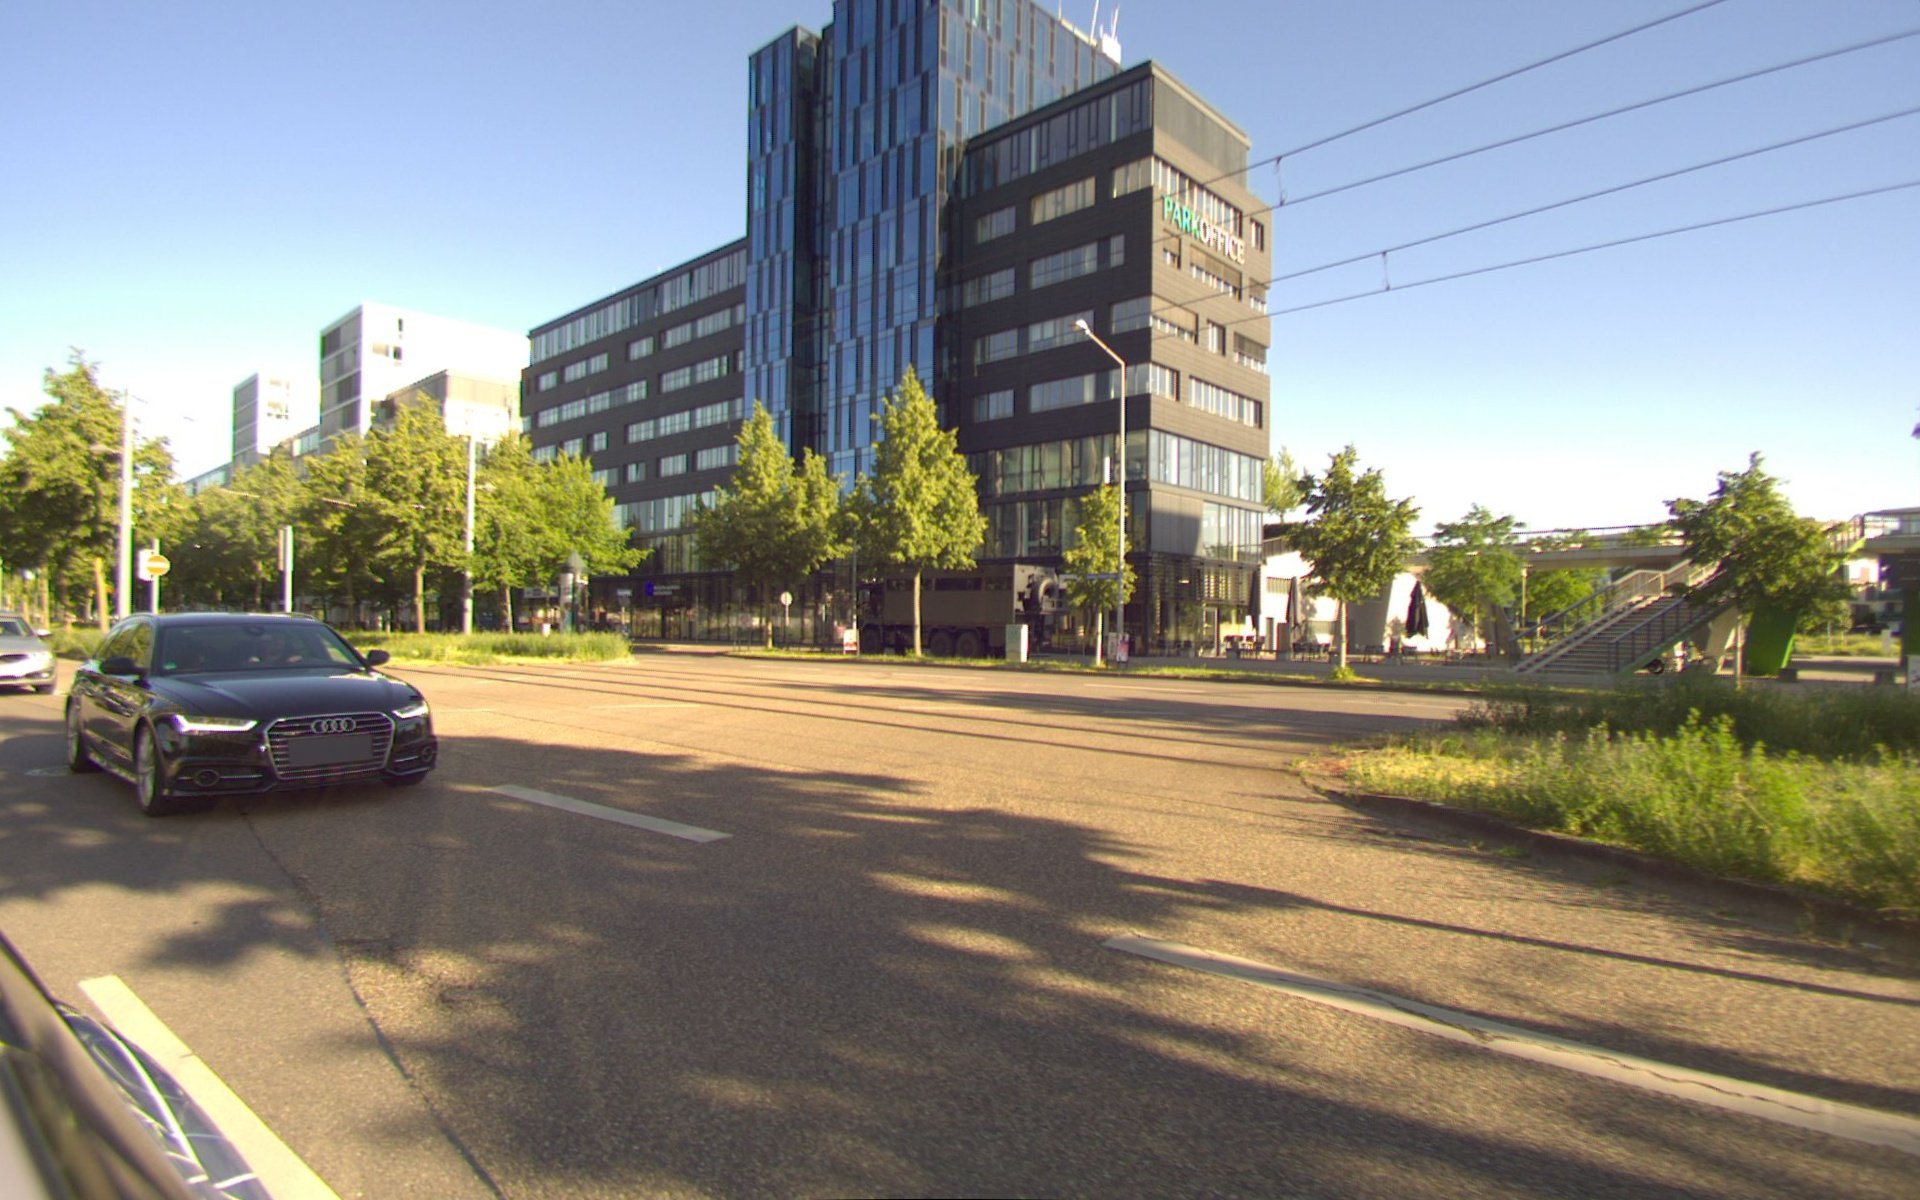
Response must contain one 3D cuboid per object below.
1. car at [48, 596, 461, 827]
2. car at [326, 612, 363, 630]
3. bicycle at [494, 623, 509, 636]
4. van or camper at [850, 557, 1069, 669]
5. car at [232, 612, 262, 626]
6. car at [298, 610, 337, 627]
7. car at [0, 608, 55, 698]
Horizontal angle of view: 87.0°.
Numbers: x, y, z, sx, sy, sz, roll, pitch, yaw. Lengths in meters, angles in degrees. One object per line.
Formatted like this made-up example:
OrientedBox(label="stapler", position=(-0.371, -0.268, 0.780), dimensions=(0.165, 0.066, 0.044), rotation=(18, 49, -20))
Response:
OrientedBox(label="car", position=(-6.143, 0.730, 8.589), dimensions=(4.505, 1.468, 1.789), rotation=(0, -1, 40))
OrientedBox(label="car", position=(-59.416, 1.990, 97.650), dimensions=(4.793, 1.697, 1.833), rotation=(0, -2, 43))
OrientedBox(label="bicycle", position=(-39.383, 2.550, 86.917), dimensions=(1.848, 1.041, 0.521), rotation=(0, 0, 43))
OrientedBox(label="van or camper", position=(-0.283, 0.515, 42.905), dimensions=(10.231, 4.224, 2.723), rotation=(0, -1, 44))
OrientedBox(label="car", position=(-87.134, 2.321, 123.591), dimensions=(4.791, 1.711, 1.985), rotation=(0, -2, 42))
OrientedBox(label="car", position=(-66.576, 1.950, 104.829), dimensions=(4.788, 1.711, 1.986), rotation=(0, -1, 40))
OrientedBox(label="car", position=(-17.913, 0.890, 18.325), dimensions=(4.742, 1.500, 1.788), rotation=(0, -2, 42))
